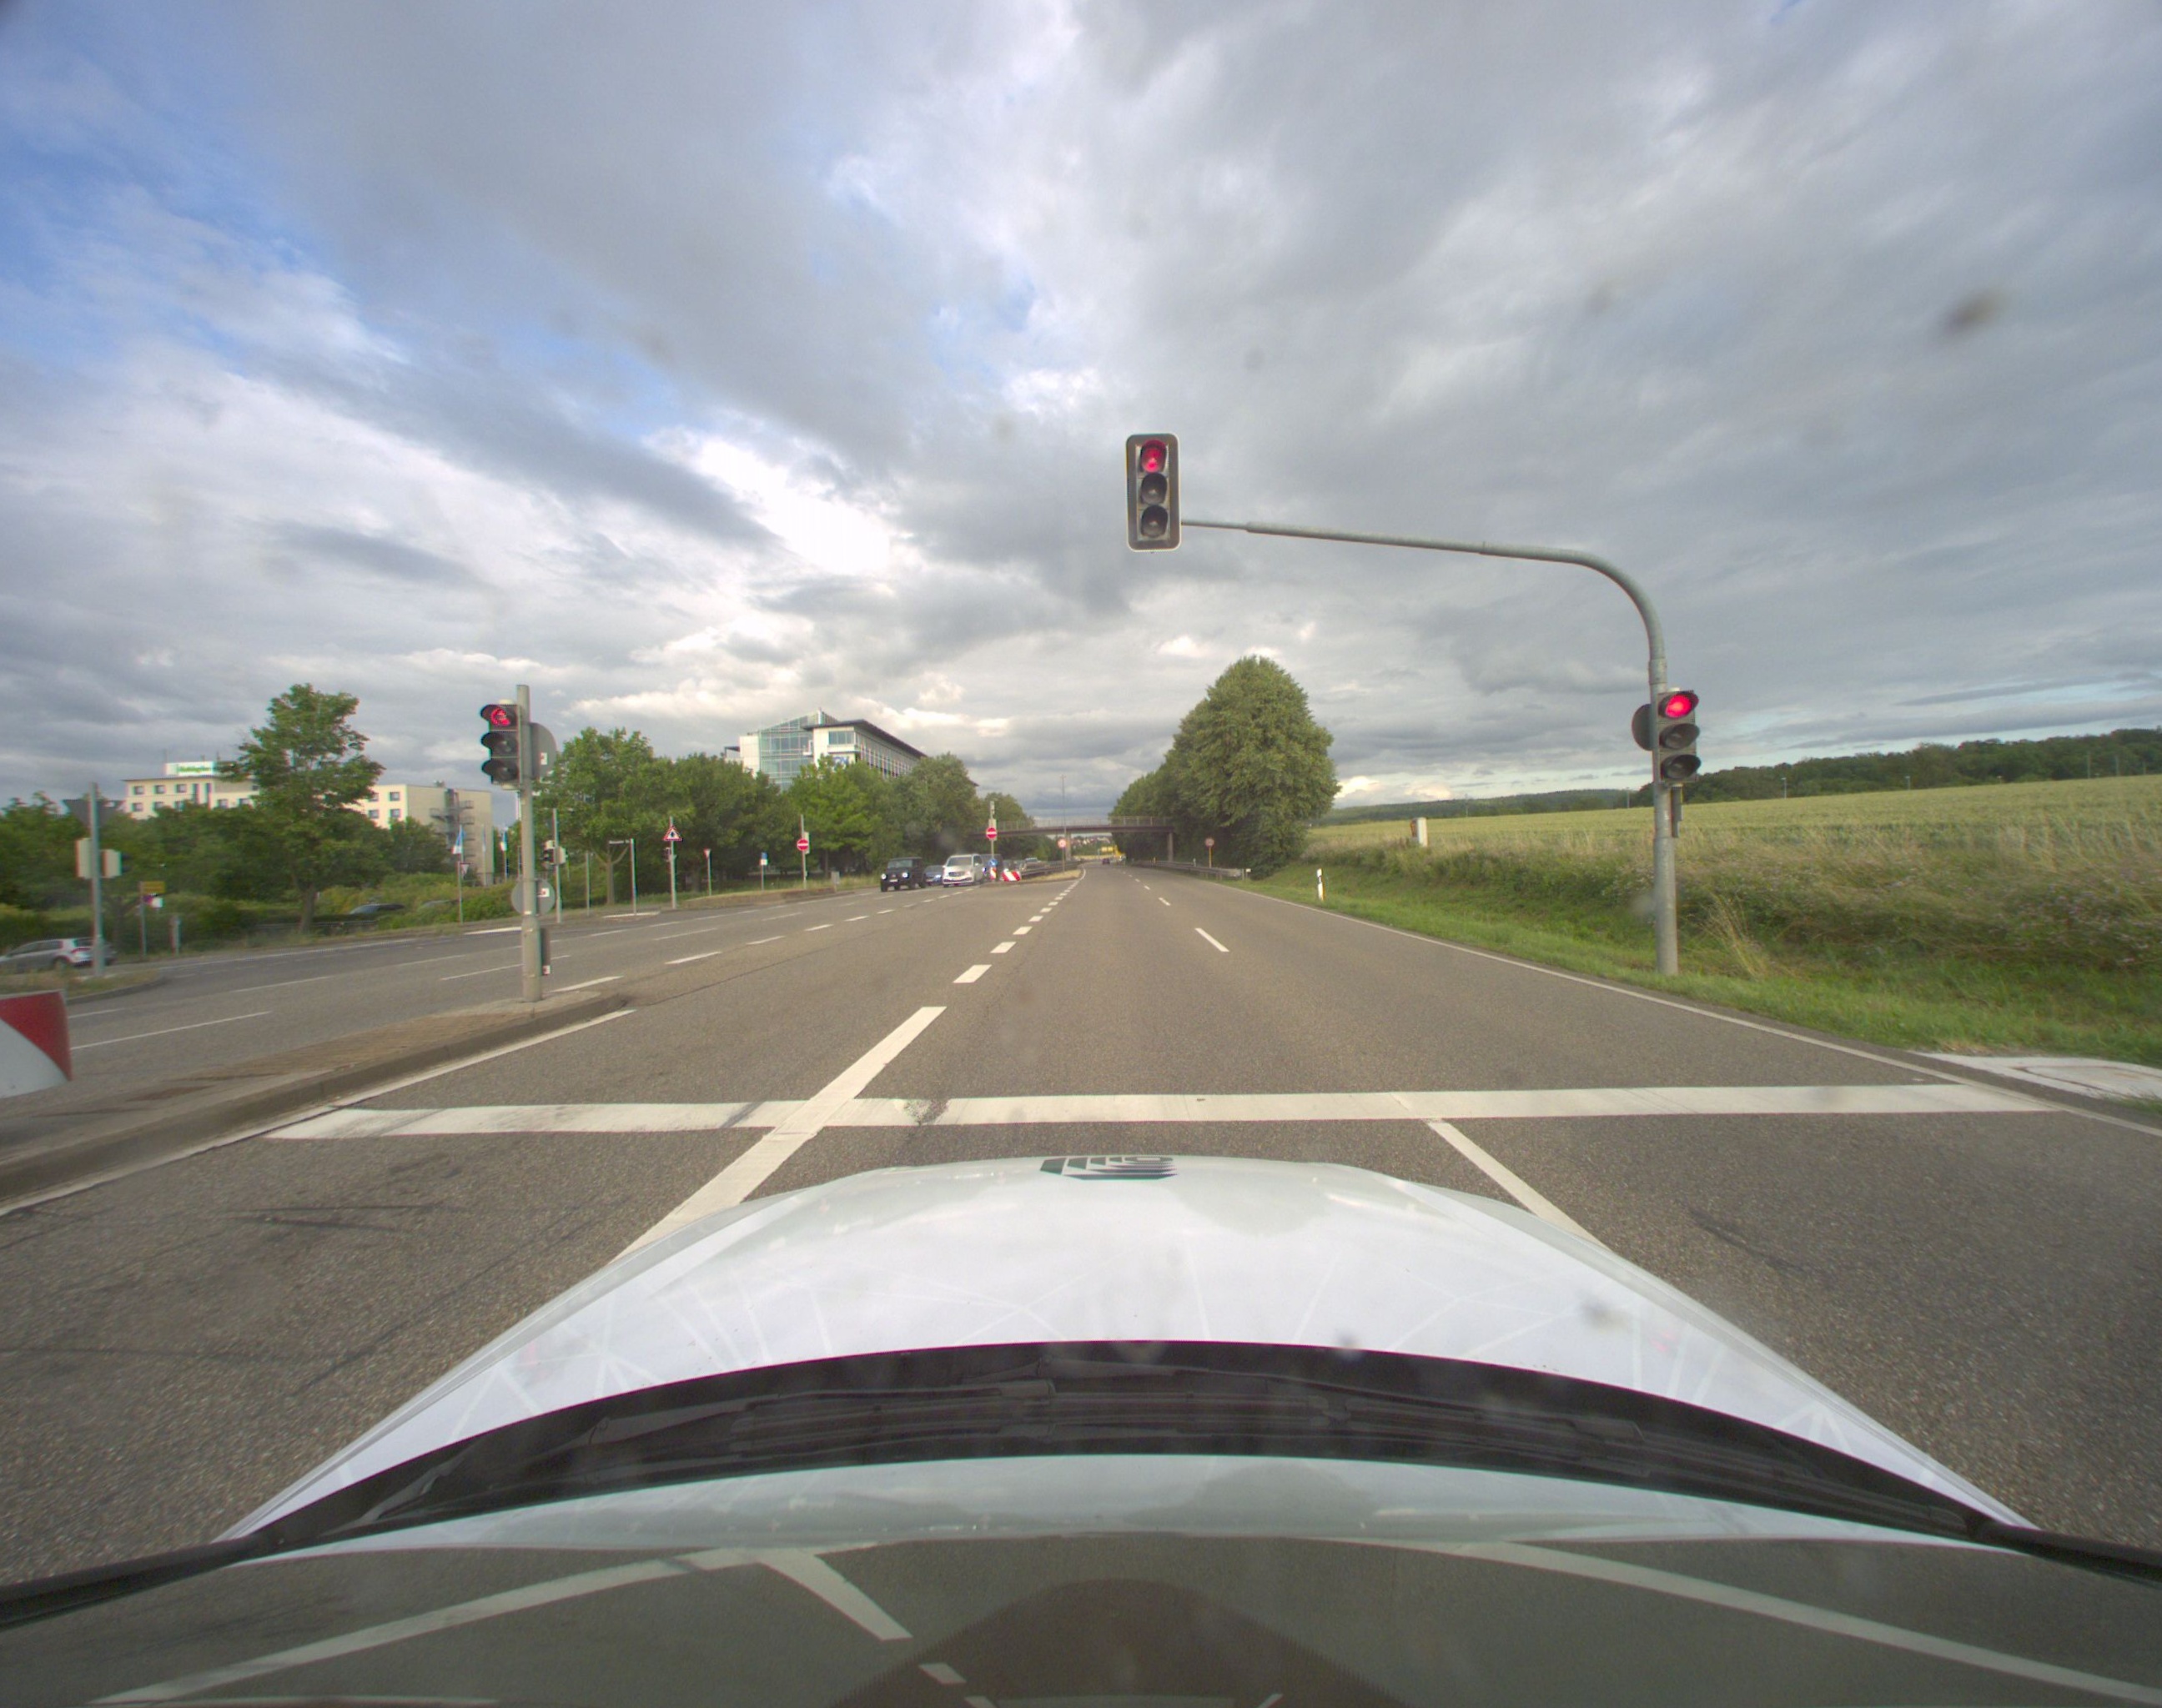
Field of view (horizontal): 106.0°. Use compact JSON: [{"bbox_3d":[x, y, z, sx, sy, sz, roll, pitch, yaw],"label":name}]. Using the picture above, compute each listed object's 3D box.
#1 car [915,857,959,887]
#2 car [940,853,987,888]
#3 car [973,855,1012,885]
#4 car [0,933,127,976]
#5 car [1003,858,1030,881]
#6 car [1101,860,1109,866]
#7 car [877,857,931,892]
[{"bbox_3d":[-10.023,1.254,57.130,2.076,2.014,5.216,0,-1,1],"label":"car"},{"bbox_3d":[-7.099,0.966,49.668,2.076,2.014,5.216,0,-1,1],"label":"car"},{"bbox_3d":[-6.182,1.075,57.386,2.076,2.014,5.216,0,-1,1],"label":"car"},{"bbox_3d":[-44.502,4.373,35.350,3.742,1.342,1.580,-5,0,-13],"label":"car"},{"bbox_3d":[-5.997,1.407,75.937,2.076,2.014,5.216,0,-1,1],"label":"car"},{"bbox_3d":[5.977,2.246,201.267,1.874,1.552,3.998,0,-1,-1],"label":"car"},{"bbox_3d":[-10.720,1.189,49.641,2.076,2.014,5.216,0,-1,1],"label":"car"}]
